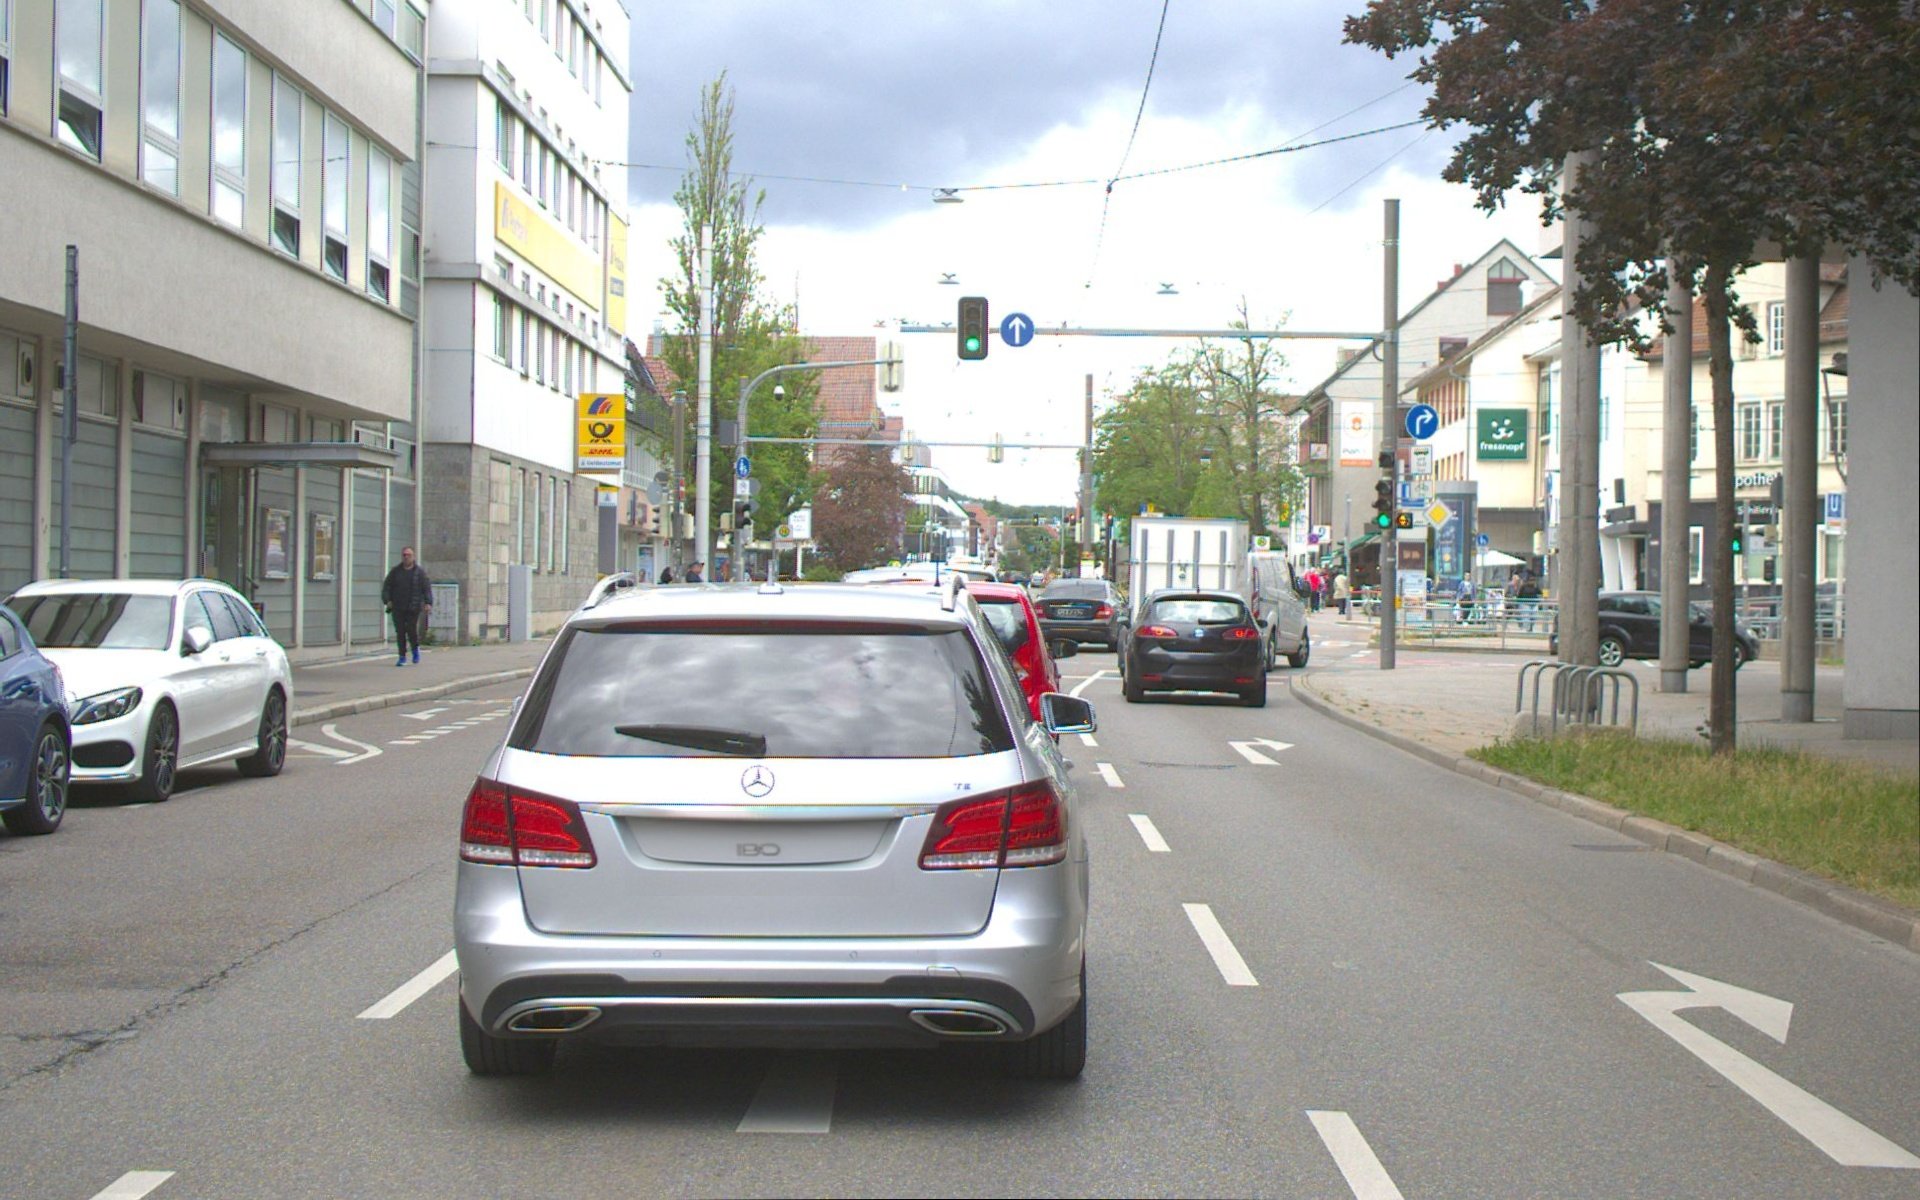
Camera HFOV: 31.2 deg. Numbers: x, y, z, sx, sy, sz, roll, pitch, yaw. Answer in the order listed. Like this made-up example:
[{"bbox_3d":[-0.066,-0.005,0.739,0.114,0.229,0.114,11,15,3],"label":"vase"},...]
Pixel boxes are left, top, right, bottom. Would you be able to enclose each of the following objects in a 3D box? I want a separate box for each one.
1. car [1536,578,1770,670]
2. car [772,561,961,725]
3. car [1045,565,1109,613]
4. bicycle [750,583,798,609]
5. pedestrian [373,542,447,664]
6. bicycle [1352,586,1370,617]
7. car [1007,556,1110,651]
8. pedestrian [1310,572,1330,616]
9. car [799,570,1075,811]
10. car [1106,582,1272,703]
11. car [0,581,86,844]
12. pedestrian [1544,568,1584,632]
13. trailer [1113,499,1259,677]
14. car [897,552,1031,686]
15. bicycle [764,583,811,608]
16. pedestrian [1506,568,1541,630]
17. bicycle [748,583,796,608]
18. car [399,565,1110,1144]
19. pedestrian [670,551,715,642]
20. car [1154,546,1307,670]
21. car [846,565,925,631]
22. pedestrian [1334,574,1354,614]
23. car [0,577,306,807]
[{"bbox_3d":[12.836,0.436,63.741,3.785,1.664,1.930,0,0,-15],"label":"car"},{"bbox_3d":[-0.904,0.381,33.779,1.734,1.503,4.000,1,0,-1],"label":"car"},{"bbox_3d":[3.554,-0.363,105.060,1.734,1.406,4.000,0,1,-1],"label":"car"},{"bbox_3d":[-7.862,-0.181,145.363,1.937,1.025,0.530,2,0,-8],"label":"bicycle"},{"bbox_3d":[-7.929,0.037,49.609,0.861,1.712,1.031,2,0,-1],"label":"pedestrian"},{"bbox_3d":[14.410,0.041,123.435,0.448,1.087,2.149,1,0,2],"label":"bicycle"},{"bbox_3d":[1.896,0.050,67.134,1.828,1.779,4.000,1,0,-1],"label":"car"},{"bbox_3d":[13.672,-0.217,130.670,0.578,1.661,0.651,2,0,-6],"label":"pedestrian"},{"bbox_3d":[-0.197,0.561,23.874,1.734,1.503,4.000,1,0,-1],"label":"car"},{"bbox_3d":[2.854,0.507,43.566,1.734,1.406,4.000,0,1,-1],"label":"car"},{"bbox_3d":[-6.168,0.632,18.068,1.815,1.421,4.263,-1,0,4],"label":"car"},{"bbox_3d":[16.662,-0.010,94.803,0.786,1.712,0.650,2,1,-20],"label":"pedestrian"},{"bbox_3d":[3.625,-0.181,54.403,1.878,2.604,4.321,3,0,8],"label":"trailer"},{"bbox_3d":[0.017,0.236,47.357,1.734,1.753,4.000,1,0,-1],"label":"car"},{"bbox_3d":[-7.498,-0.188,149.340,1.937,1.025,0.530,2,0,-8],"label":"bicycle"},{"bbox_3d":[15.568,-0.023,94.991,0.702,1.712,0.649,0,0,-42],"label":"pedestrian"},{"bbox_3d":[-7.989,-0.188,146.026,1.937,1.025,0.530,2,0,-8],"label":"bicycle"},{"bbox_3d":[-0.579,0.650,11.077,1.845,1.503,4.171,1,0,-1],"label":"car"},{"bbox_3d":[-5.136,-0.070,66.071,0.648,1.712,0.782,2,1,8],"label":"pedestrian"},{"bbox_3d":[4.687,0.131,58.917,1.879,1.939,4.903,3,0,12],"label":"car"},{"bbox_3d":[-1.839,-0.067,86.651,1.776,1.626,4.768,0,0,1],"label":"car"},{"bbox_3d":[14.198,-0.213,127.167,0.578,1.464,0.651,2,0,-6],"label":"pedestrian"},{"bbox_3d":[-5.940,0.575,24.021,1.670,1.429,4.552,-1,0,3],"label":"car"}]
